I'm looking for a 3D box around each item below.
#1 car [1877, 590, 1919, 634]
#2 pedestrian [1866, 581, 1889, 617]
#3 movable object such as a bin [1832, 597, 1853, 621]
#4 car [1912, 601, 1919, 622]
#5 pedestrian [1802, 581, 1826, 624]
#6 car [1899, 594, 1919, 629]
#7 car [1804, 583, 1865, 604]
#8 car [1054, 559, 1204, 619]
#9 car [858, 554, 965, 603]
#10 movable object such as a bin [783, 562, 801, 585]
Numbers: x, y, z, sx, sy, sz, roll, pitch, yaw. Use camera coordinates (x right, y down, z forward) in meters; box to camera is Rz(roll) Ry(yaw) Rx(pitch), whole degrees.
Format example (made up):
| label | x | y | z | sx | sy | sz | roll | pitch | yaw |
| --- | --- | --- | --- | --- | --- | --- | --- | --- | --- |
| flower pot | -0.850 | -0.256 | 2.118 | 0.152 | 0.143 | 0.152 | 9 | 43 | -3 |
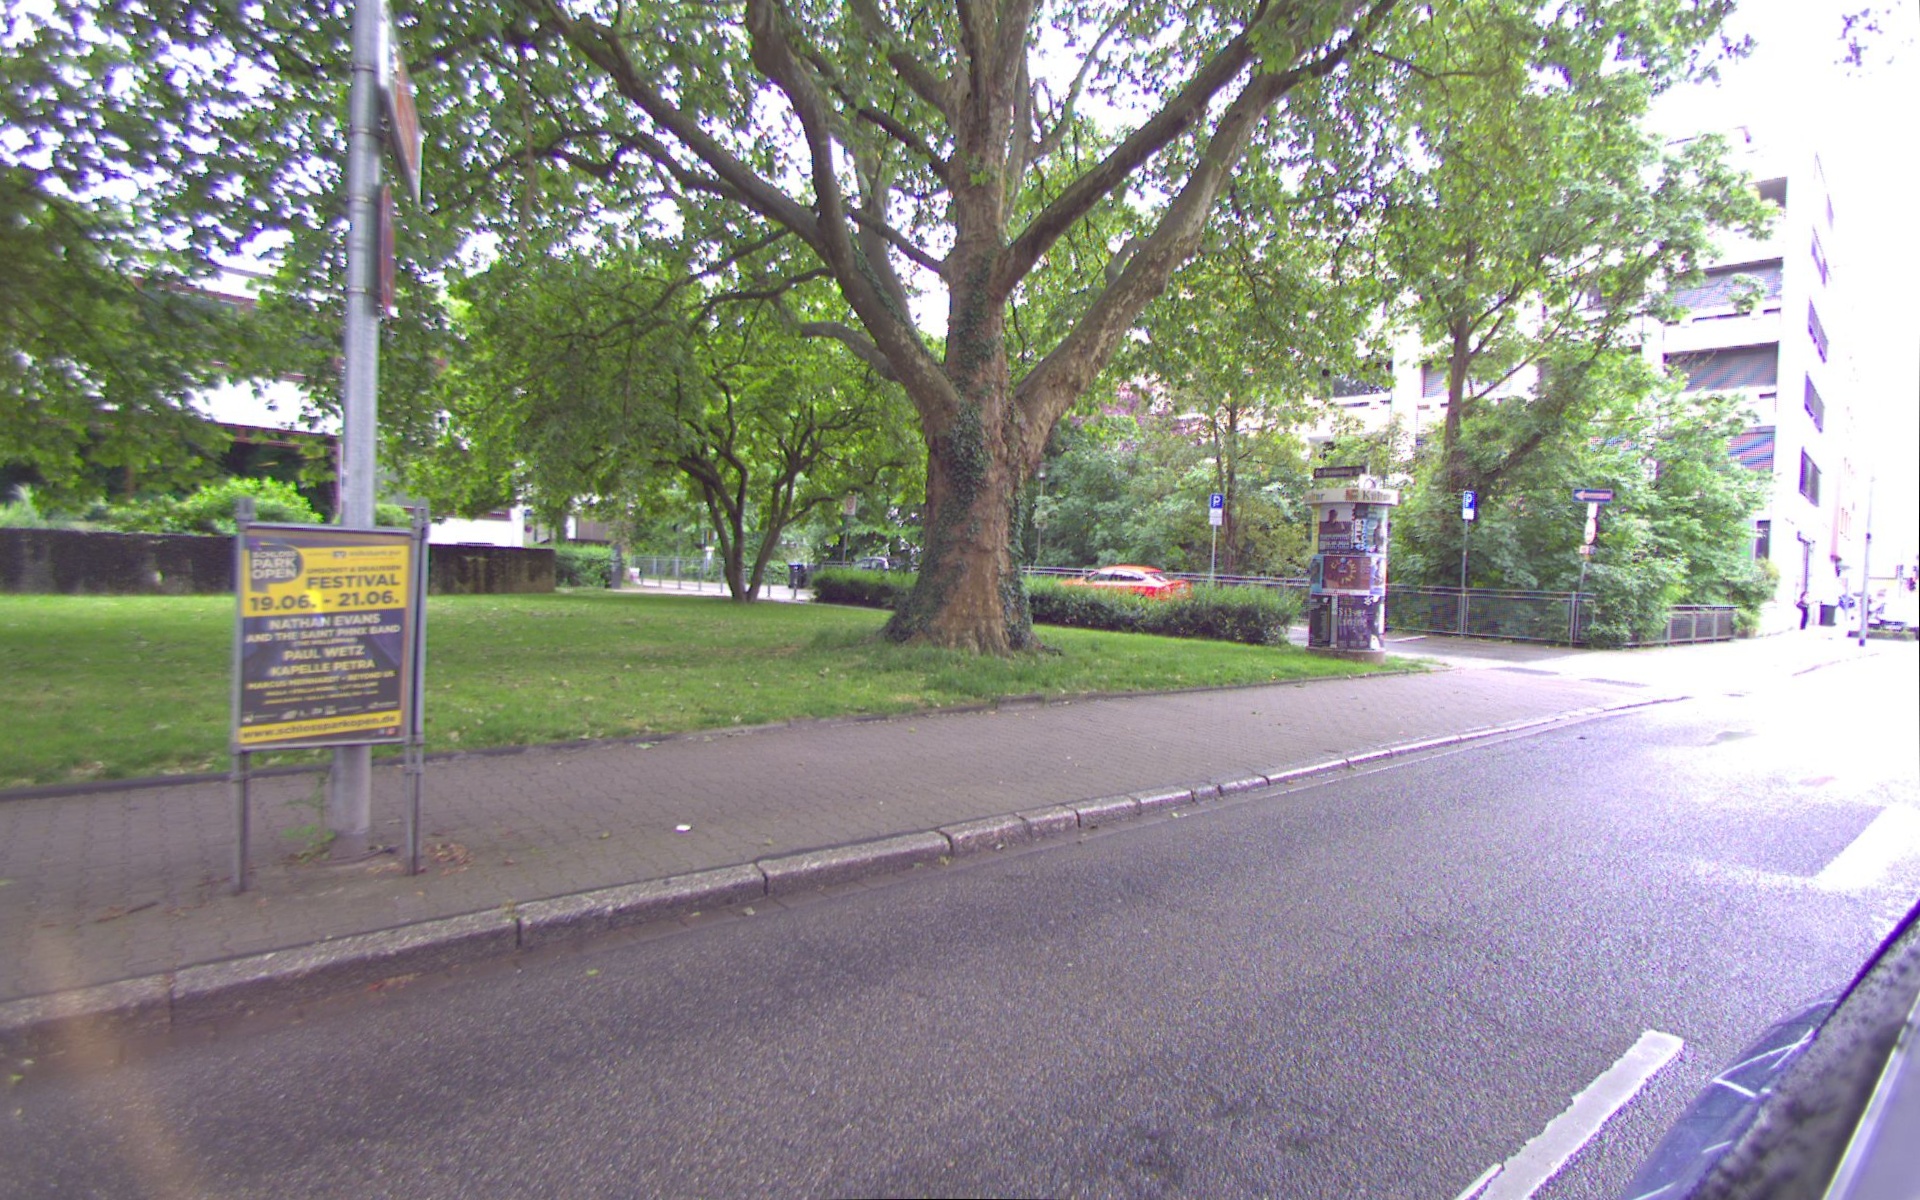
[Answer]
| label | x | y | z | sx | sy | sz | roll | pitch | yaw |
| --- | --- | --- | --- | --- | --- | --- | --- | --- | --- |
| car | 37.511 | 0.469 | 39.848 | 3.741 | 1.577 | 1.705 | 0 | 4 | -43 |
| pedestrian | 56.457 | -0.077 | 62.258 | 0.797 | 2.179 | 0.732 | 2 | 1 | 26 |
| movable object such as a bin | 42.102 | 0.409 | 48.299 | 0.505 | 1.117 | 0.680 | 0 | 2 | -42 |
| car | 66.056 | 0.886 | 66.843 | 1.449 | 1.402 | 4.463 | 0 | 2 | -40 |
| pedestrian | 34.705 | 0.112 | 41.110 | 0.598 | 1.679 | 0.681 | 7 | 4 | 42 |
| car | 42.492 | 0.538 | 44.181 | 4.493 | 1.437 | 1.834 | 0 | 3 | -43 |
| car | 79.797 | -0.585 | 92.377 | 1.801 | 1.732 | 3.801 | 1 | 2 | -21 |
| car | 4.904 | -0.384 | 29.747 | 3.989 | 1.499 | 1.847 | 5 | 5 | 44 |
| car | -1.825 | -0.819 | 37.093 | 1.707 | 1.590 | 3.925 | 0 | 3 | -45 |
| movable object such as a bin | -7.184 | -1.125 | 43.164 | 0.573 | 0.986 | 0.512 | 0 | 0 | -41 |
